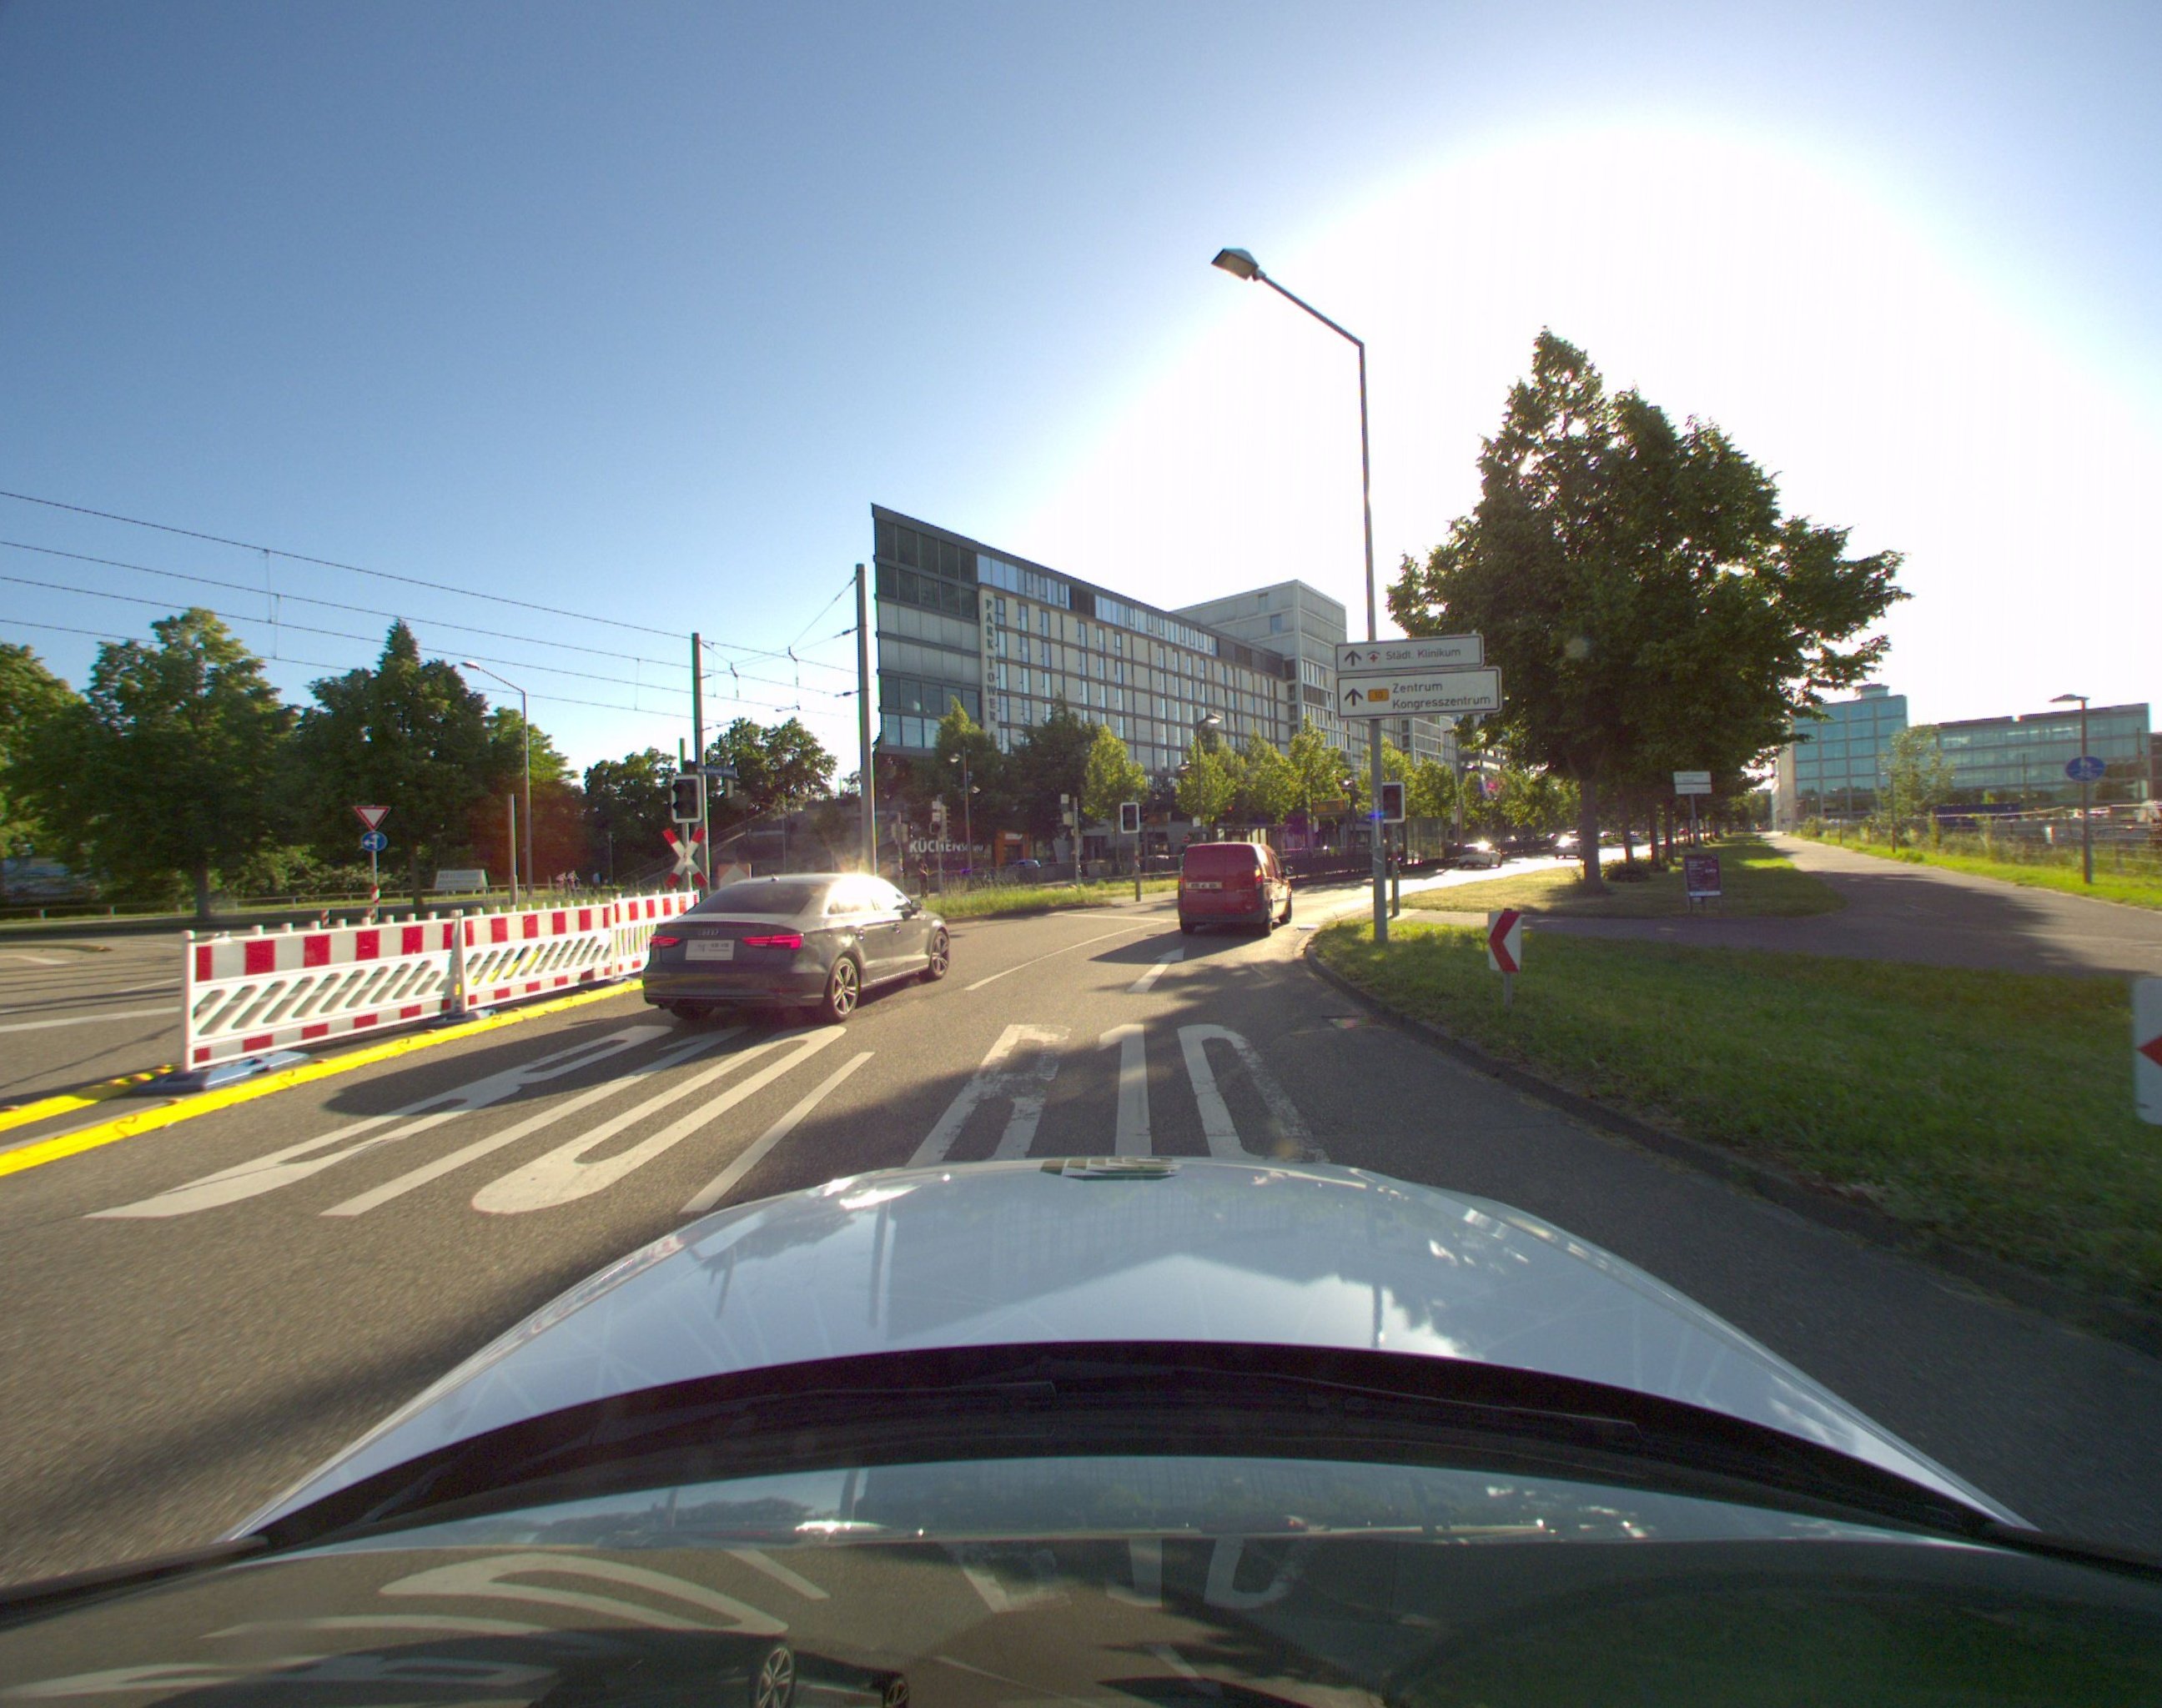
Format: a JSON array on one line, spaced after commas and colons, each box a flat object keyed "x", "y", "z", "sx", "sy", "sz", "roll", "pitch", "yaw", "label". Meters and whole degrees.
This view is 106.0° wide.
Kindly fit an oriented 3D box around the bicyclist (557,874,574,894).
[{"x": -35.792, "y": 2.078, "z": 56.542, "sx": 0.611, "sy": 1.392, "sz": 0.721, "roll": -2, "pitch": 0, "yaw": 12, "label": "bicyclist"}]

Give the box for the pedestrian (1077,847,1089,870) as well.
[{"x": 0.166, "y": 0.393, "z": 74.277, "sx": 0.632, "sy": 2.013, "sz": 0.839, "roll": -2, "pitch": 0, "yaw": 41, "label": "pedestrian"}]

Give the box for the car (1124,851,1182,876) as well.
[{"x": 4.995, "y": 0.665, "z": 56.165, "sx": 1.915, "sy": 1.575, "sz": 4.001, "roll": -2, "pitch": 0, "yaw": 42, "label": "car"}]

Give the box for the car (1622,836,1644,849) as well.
[{"x": 72.414, "y": -1.493, "z": 106.848, "sx": 1.974, "sy": 1.575, "sz": 4.436, "roll": -2, "pitch": 0, "yaw": 39, "label": "car"}]

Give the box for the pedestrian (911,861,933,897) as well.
[{"x": -6.589, "y": 1.036, "z": 33.809, "sx": 0.549, "sy": 1.466, "sz": 0.681, "roll": -1, "pitch": 0, "yaw": 37, "label": "pedestrian"}]

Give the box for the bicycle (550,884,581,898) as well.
[{"x": -35.756, "y": 2.585, "z": 56.512, "sx": 0.611, "sy": 0.852, "sz": 1.895, "roll": -2, "pitch": 0, "yaw": 12, "label": "bicycle"}]

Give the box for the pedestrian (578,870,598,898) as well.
[{"x": -29.289, "y": 1.797, "z": 48.405, "sx": 0.765, "sy": 1.629, "sz": 0.874, "roll": -2, "pitch": 0, "yaw": -44, "label": "pedestrian"}]

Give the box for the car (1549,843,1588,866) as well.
[{"x": 38.034, "y": 0.035, "z": 63.495, "sx": 1.974, "sy": 1.575, "sz": 4.436, "roll": -2, "pitch": 0, "yaw": 40, "label": "car"}]

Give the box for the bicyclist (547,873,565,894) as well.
[{"x": -36.568, "y": 2.079, "z": 56.755, "sx": 0.611, "sy": 1.392, "sz": 0.840, "roll": -2, "pitch": 0, "yaw": 12, "label": "bicyclist"}]

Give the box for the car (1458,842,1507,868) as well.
[{"x": 24.235, "y": 0.044, "z": 49.129, "sx": 1.785, "sy": 1.461, "sz": 3.834, "roll": 0, "pitch": 1, "yaw": 40, "label": "car"}]

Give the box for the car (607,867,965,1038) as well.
[{"x": -2.835, "y": 0.871, "z": 9.034, "sx": 1.749, "sy": 1.380, "sz": 4.371, "roll": -2, "pitch": -1, "yaw": 10, "label": "car"}]

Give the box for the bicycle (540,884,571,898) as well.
[{"x": -36.560, "y": 2.586, "z": 56.680, "sx": 0.611, "sy": 0.852, "sz": 1.895, "roll": -2, "pitch": 0, "yaw": 12, "label": "bicycle"}]

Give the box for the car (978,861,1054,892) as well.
[{"x": -3.611, "y": 1.218, "z": 45.817, "sx": 1.916, "sy": 1.575, "sz": 4.000, "roll": -2, "pitch": -1, "yaw": 43, "label": "car"}]

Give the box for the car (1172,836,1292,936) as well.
[{"x": 3.250, "y": 0.624, "z": 16.927, "sx": 1.787, "sy": 1.814, "sz": 3.828, "roll": -1, "pitch": -1, "yaw": 20, "label": "car"}]

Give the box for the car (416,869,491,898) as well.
[{"x": -44.189, "y": 2.040, "z": 57.433, "sx": 3.726, "sy": 1.805, "sz": 1.835, "roll": -2, "pitch": 0, "yaw": -6, "label": "car"}]
